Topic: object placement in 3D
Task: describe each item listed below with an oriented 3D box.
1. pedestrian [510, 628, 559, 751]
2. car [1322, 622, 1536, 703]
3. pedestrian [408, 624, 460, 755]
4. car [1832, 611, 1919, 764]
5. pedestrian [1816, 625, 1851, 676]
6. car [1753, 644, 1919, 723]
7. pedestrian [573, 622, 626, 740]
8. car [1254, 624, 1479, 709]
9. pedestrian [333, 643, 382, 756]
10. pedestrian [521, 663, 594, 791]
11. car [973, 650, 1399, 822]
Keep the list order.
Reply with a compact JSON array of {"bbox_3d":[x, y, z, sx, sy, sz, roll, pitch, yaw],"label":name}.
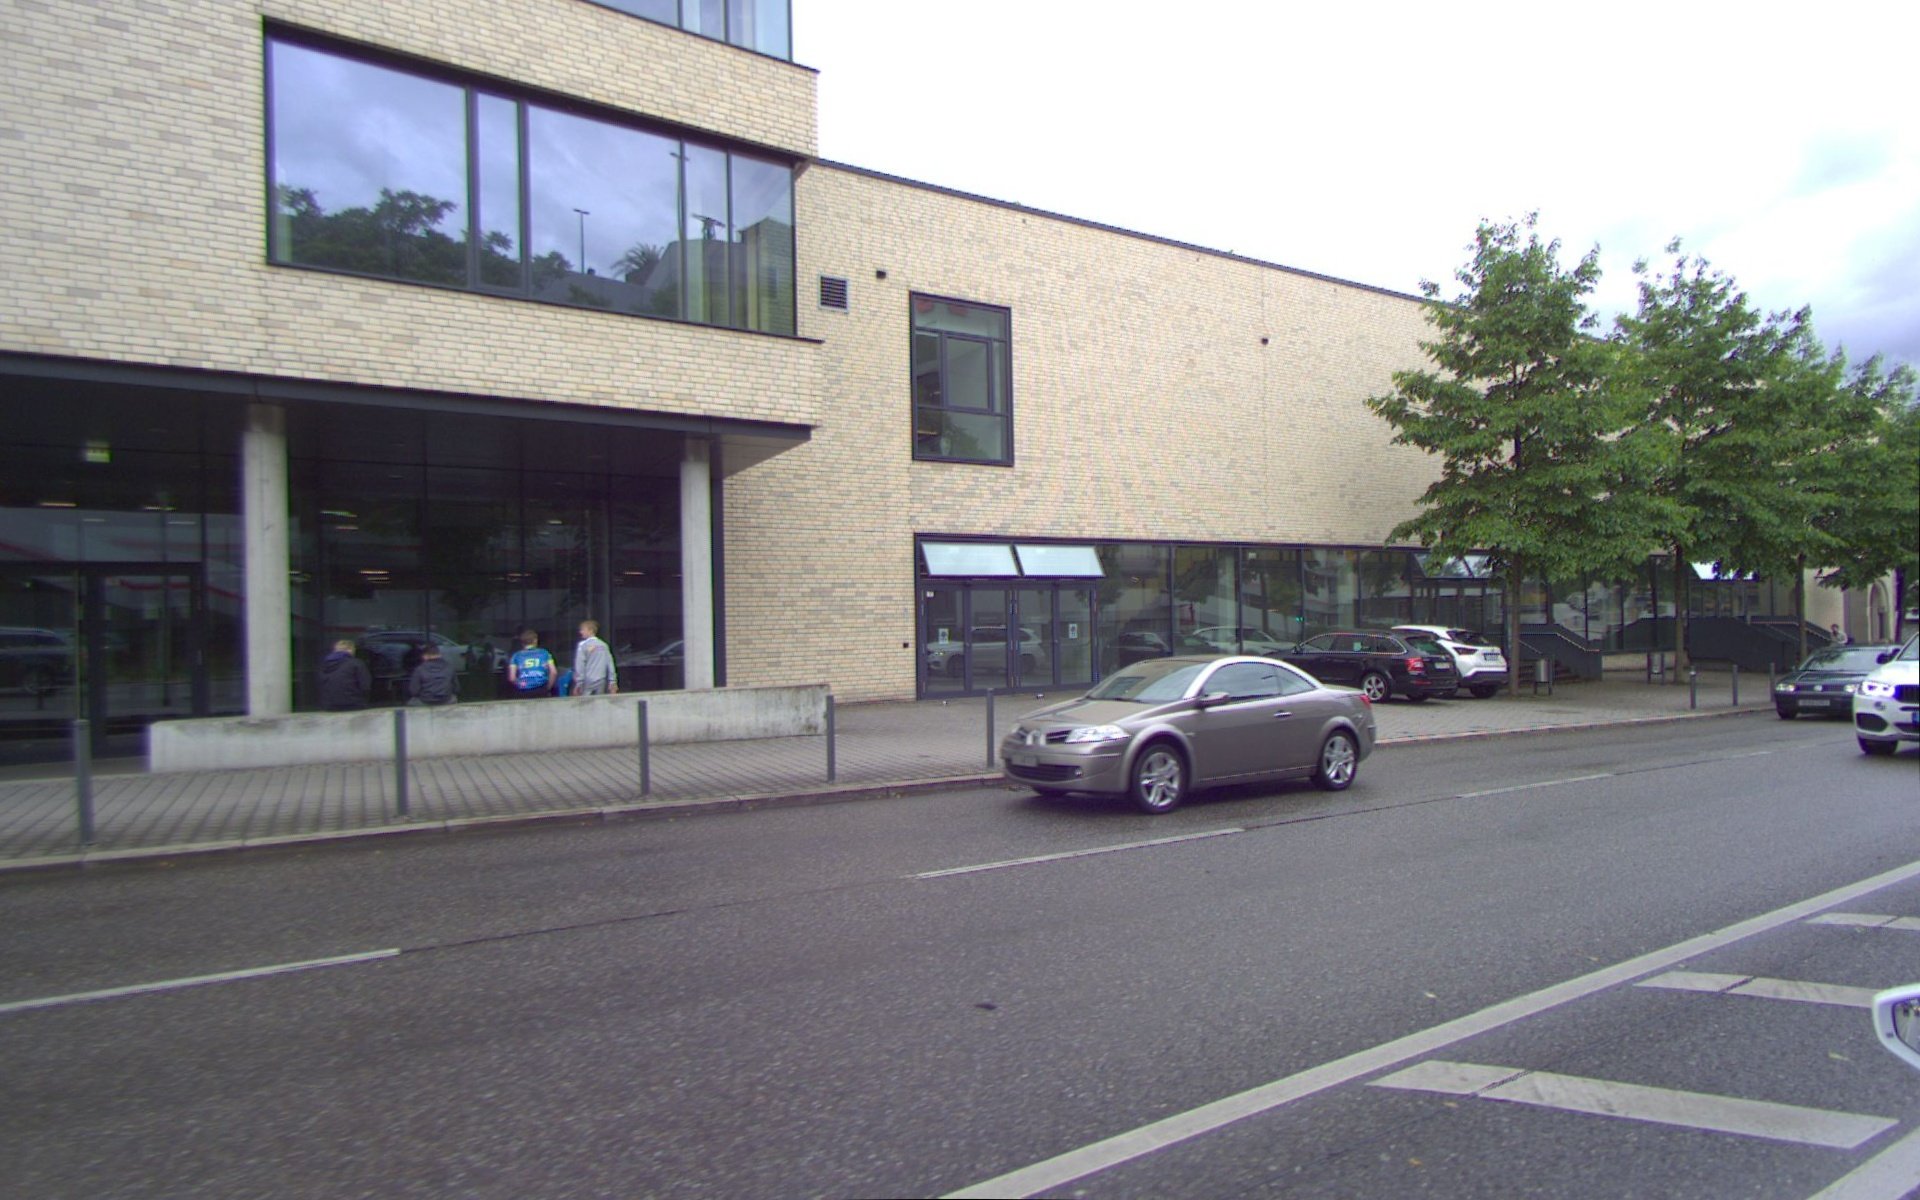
[{"bbox_3d":[-5.385,1.118,12.704,0.459,1.495,0.446,2,0,-35],"label":"pedestrian"},{"bbox_3d":[10.739,1.374,23.313,1.975,1.568,4.159,2,0,-28],"label":"car"},{"bbox_3d":[-6.217,1.039,11.864,0.459,1.495,0.446,2,0,-35],"label":"pedestrian"},{"bbox_3d":[13.534,1.086,13.147,4.523,1.835,1.882,1,-4,-31],"label":"car"},{"bbox_3d":[29.613,1.712,34.043,1.009,1.688,0.638,2,0,-36],"label":"pedestrian"},{"bbox_3d":[17.647,1.601,19.949,3.927,1.430,1.736,1,-4,-32],"label":"car"},{"bbox_3d":[-4.730,1.046,13.165,0.523,1.495,0.438,2,0,-35],"label":"pedestrian"},{"bbox_3d":[8.765,1.373,21.954,1.981,1.515,4.147,2,0,-36],"label":"car"},{"bbox_3d":[-6.929,1.126,11.561,0.416,1.231,0.546,2,0,-27],"label":"pedestrian"},{"bbox_3d":[-5.831,1.821,14.578,0.691,1.737,0.637,2,0,17],"label":"pedestrian"},{"bbox_3d":[2.377,1.238,10.270,4.183,1.406,1.820,1,-4,-32],"label":"car"}]
